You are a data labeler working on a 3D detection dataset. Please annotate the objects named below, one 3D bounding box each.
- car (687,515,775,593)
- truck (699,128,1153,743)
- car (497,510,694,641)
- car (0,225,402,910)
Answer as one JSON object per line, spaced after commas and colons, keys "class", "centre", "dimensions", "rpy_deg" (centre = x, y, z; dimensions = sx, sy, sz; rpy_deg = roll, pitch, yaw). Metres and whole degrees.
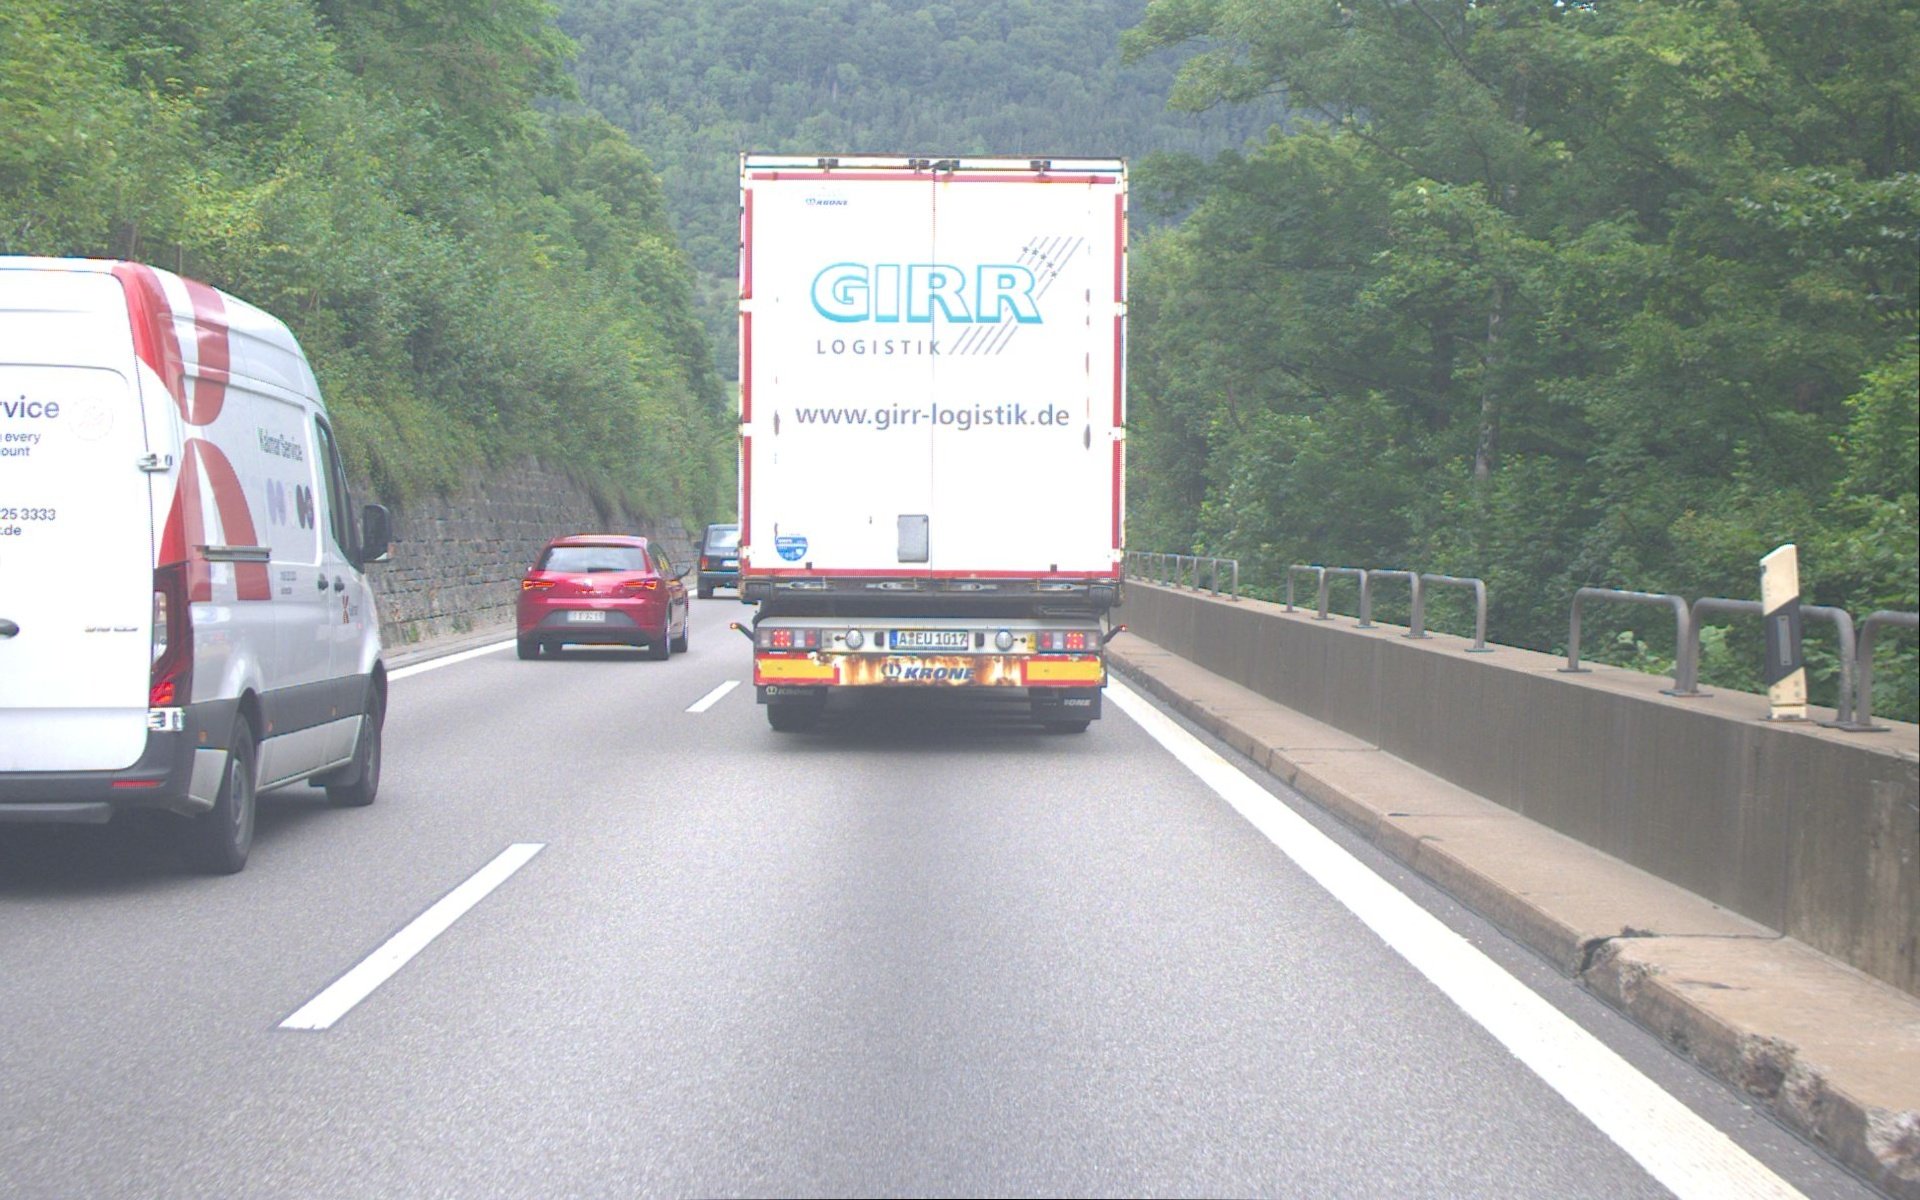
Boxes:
{"class": "car", "centre": [-4.936, -1.002, 74.607], "dimensions": [1.669, 1.633, 4.068], "rpy_deg": [0, 1, -1]}
{"class": "truck", "centre": [-0.194, -1.139, 26.748], "dimensions": [2.909, 3.947, 9.279], "rpy_deg": [0, 1, 0]}
{"class": "car", "centre": [-4.232, -0.302, 40.491], "dimensions": [1.766, 1.455, 4.411], "rpy_deg": [0, 1, 1]}
{"class": "car", "centre": [-4.060, -0.161, 16.059], "dimensions": [2.026, 2.576, 6.275], "rpy_deg": [0, 1, -1]}
